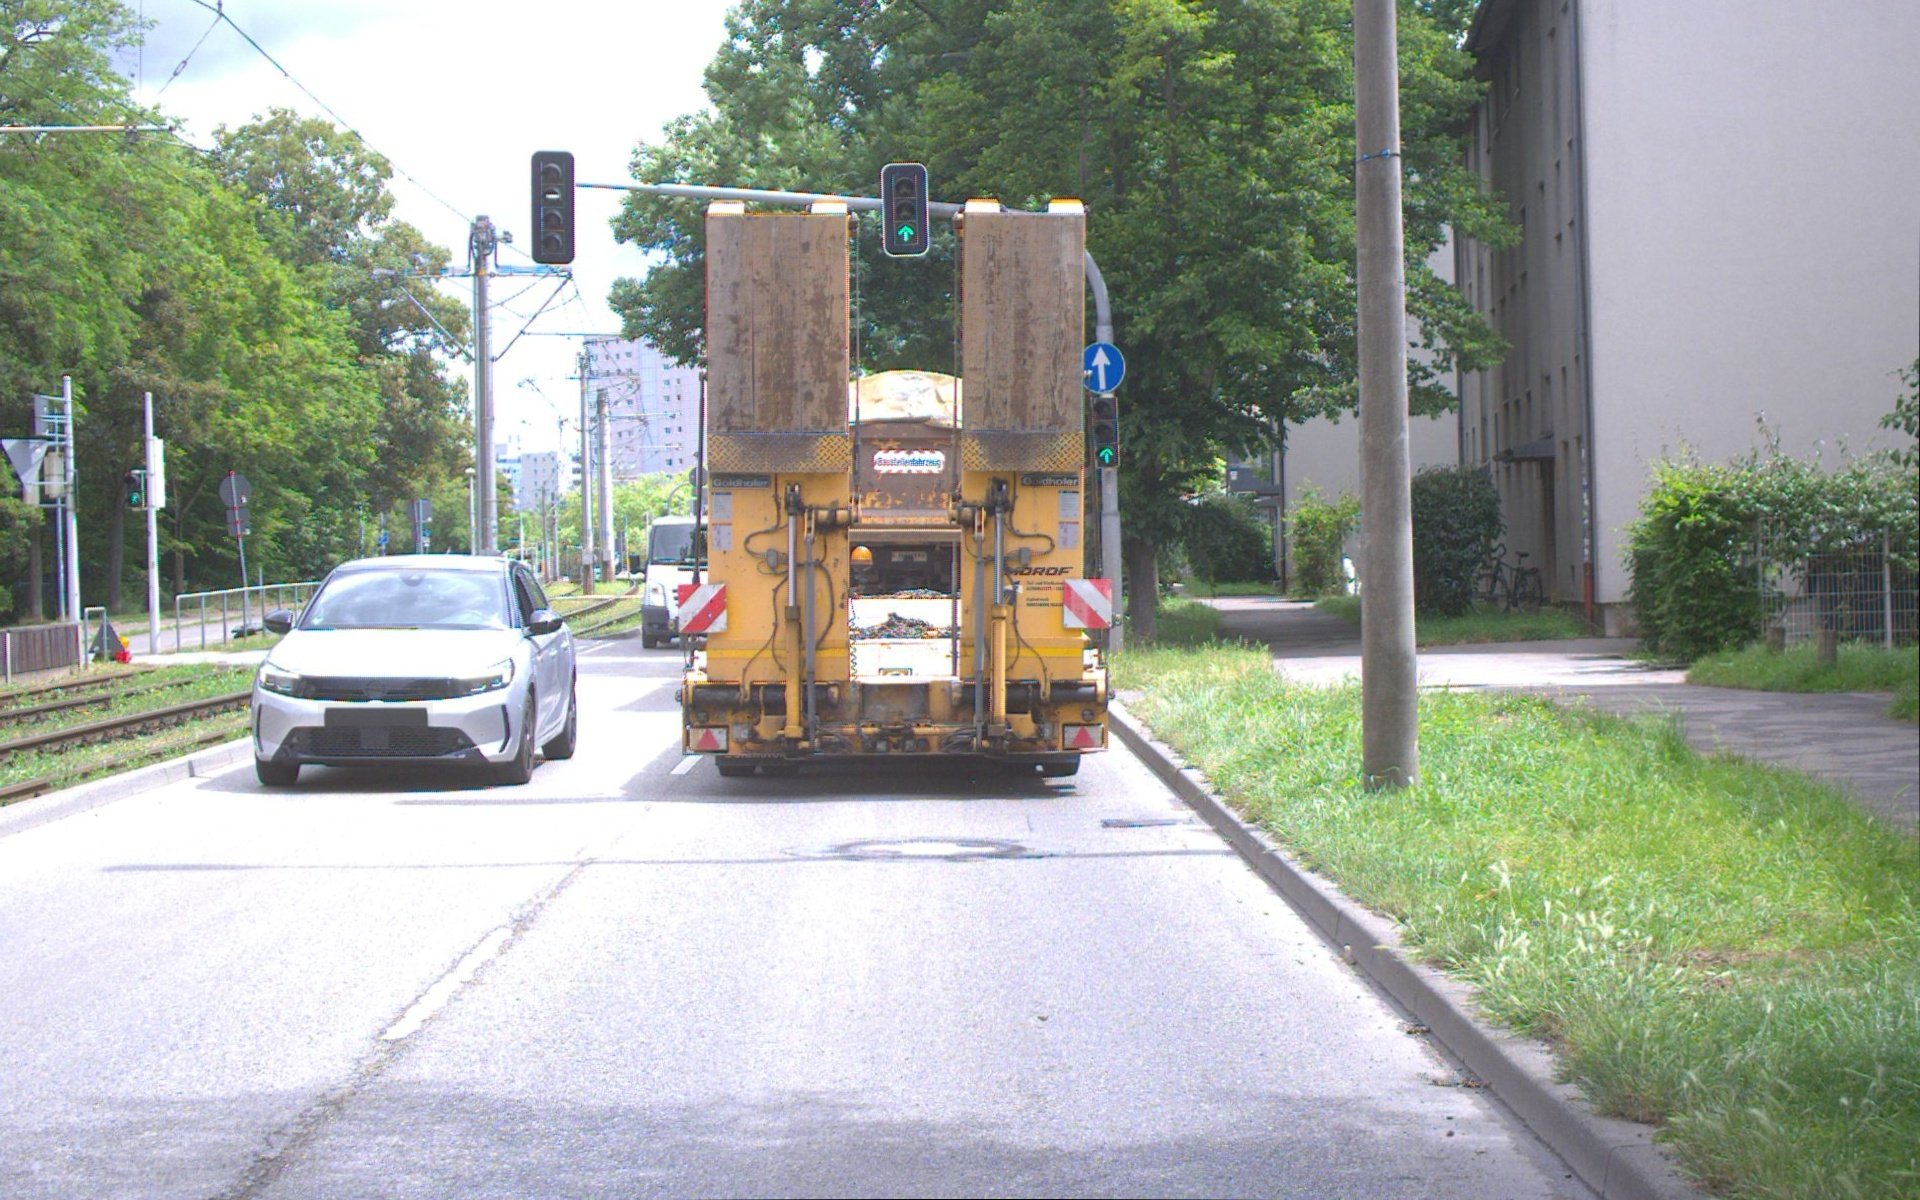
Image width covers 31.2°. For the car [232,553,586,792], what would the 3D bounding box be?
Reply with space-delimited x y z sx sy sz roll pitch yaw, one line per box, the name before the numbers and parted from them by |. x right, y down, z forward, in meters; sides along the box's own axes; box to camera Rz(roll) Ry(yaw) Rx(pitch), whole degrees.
car | -3.529 0.411 22.661 1.730 1.412 3.984 0 1 -1

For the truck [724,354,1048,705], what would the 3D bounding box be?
truck | -0.739 -0.707 34.925 2.917 3.156 7.681 0 1 -1

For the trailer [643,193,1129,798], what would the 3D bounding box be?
trailer | -0.572 -0.702 25.574 2.822 3.512 11.053 0 1 -1

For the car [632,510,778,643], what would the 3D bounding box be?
car | -3.840 -0.382 52.443 1.942 1.933 4.317 0 1 -1
